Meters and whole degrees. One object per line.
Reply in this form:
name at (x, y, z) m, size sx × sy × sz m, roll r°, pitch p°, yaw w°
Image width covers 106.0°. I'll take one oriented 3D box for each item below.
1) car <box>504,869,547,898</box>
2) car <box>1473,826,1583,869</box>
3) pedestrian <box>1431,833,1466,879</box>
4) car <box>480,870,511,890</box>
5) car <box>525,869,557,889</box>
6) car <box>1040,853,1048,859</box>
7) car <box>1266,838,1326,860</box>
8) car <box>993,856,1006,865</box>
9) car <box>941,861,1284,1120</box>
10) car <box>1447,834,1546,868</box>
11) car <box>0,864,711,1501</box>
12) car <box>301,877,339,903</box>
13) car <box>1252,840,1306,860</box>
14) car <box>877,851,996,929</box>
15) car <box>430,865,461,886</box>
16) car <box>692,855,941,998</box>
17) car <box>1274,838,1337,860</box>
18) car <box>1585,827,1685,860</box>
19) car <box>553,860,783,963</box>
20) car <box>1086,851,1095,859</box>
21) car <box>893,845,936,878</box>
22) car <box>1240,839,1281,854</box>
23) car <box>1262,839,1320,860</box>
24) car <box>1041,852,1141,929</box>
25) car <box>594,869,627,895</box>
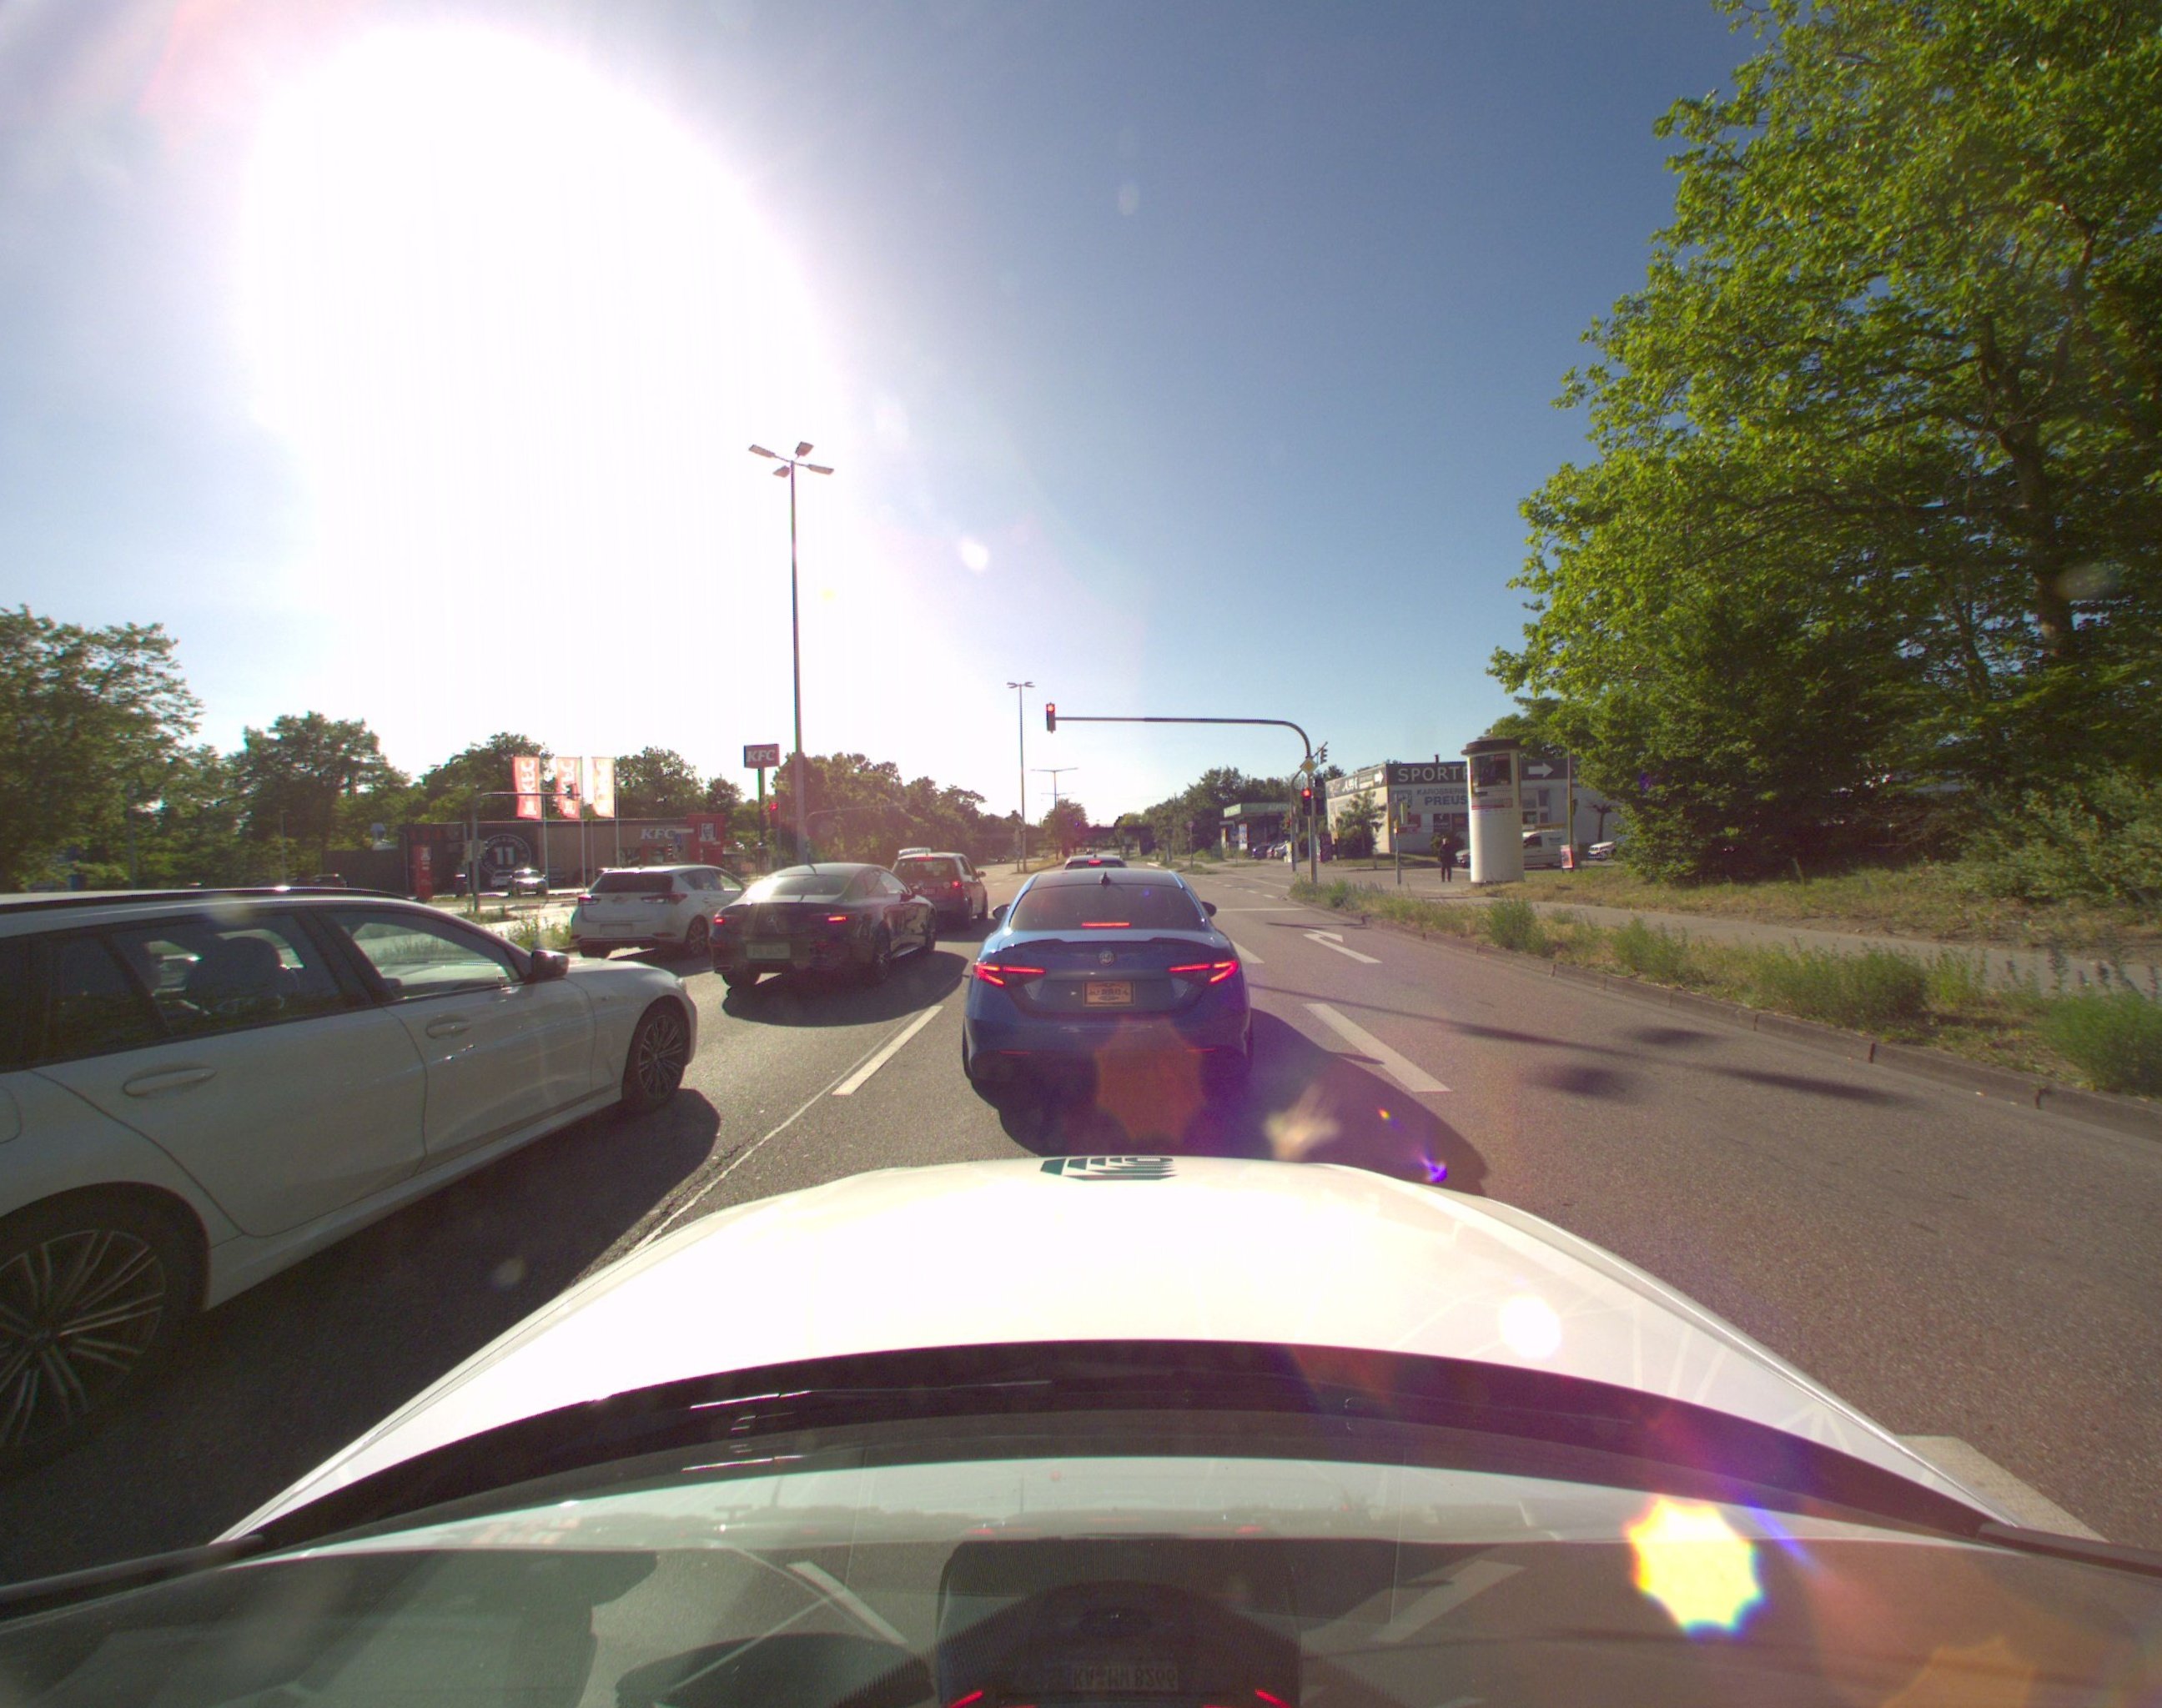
car at (-37.339, 1.944, 54.863) m, size 2.005 × 1.765 × 4.315 m, roll 0°, pitch -1°, yaw -29°
car at (21.531, -0.344, 39.352) m, size 4.367 × 1.801 × 1.765 m, roll -3°, pitch 3°, yaw 0°
pedestrian at (14.259, 0.079, 31.603) m, size 0.922 × 1.735 × 0.939 m, roll 0°, pitch -1°, yaw 1°
car at (-45.641, 2.030, 63.408) m, size 1.670 × 1.471 × 3.872 m, roll 0°, pitch -1°, yaw -40°
car at (-43.149, 1.962, 65.061) m, size 1.670 × 1.471 × 3.872 m, roll 0°, pitch -1°, yaw -40°
car at (-9.635, 0.556, 212.375) m, size 1.752 × 1.490 × 4.480 m, roll -3°, pitch 0°, yaw 2°
car at (17.706, -0.402, 67.107) m, size 4.470 × 1.454 × 1.860 m, roll -4°, pitch 0°, yaw 3°
car at (-14.985, 1.126, 149.651) m, size 1.752 × 1.490 × 4.480 m, roll -3°, pitch 0°, yaw 2°
car at (0.206, 0.775, 6.718) m, size 1.889 × 1.418 × 4.403 m, roll 0°, pitch 0°, yaw 1°
car at (21.764, -0.191, 42.717) m, size 4.273 × 1.549 × 1.765 m, roll -3°, pitch 1°, yaw 0°
car at (-3.428, 0.802, 3.308) m, size 1.779 × 1.490 × 4.403 m, roll 0°, pitch -1°, yaw 1°
car at (-52.374, 2.469, 56.096) m, size 1.670 × 1.673 × 3.897 m, roll 0°, pitch -1°, yaw -40°
car at (17.941, -0.345, 73.910) m, size 4.470 × 1.454 × 1.860 m, roll -4°, pitch 0°, yaw 3°
car at (-3.026, 0.718, 17.916) m, size 1.753 × 1.490 × 4.403 m, roll 0°, pitch -1°, yaw 1°
car at (-47.641, 1.569, 60.991) m, size 1.670 × 1.471 × 3.872 m, roll 0°, pitch -1°, yaw -40°
car at (-3.171, 0.782, 10.813) m, size 1.790 × 1.490 × 4.476 m, roll 0°, pitch -1°, yaw 1°
car at (17.700, -0.416, 64.326) m, size 4.470 × 1.454 × 1.860 m, roll -4°, pitch 0°, yaw 3°
car at (29.086, -0.535, 42.833) m, size 4.028 × 1.490 × 1.782 m, roll -3°, pitch 0°, yaw -1°
car at (-6.778, 0.856, 13.954) m, size 1.753 × 1.490 × 4.197 m, roll 0°, pitch -1°, yaw 1°
car at (2.156, 0.161, 187.553) m, size 1.884 × 1.816 × 4.001 m, roll 0°, pitch -1°, yaw 2°
car at (-13.646, 0.628, 67.013) m, size 2.015 × 2.447 × 5.823 m, roll -5°, pitch 0°, yaw 1°
car at (21.384, -0.870, 97.019) m, size 4.532 × 1.490 × 1.766 m, roll -4°, pitch 0°, yaw 3°
car at (17.982, -0.373, 69.856) m, size 4.470 × 1.454 × 1.860 m, roll -4°, pitch 0°, yaw 3°
car at (0.216, 0.697, 17.361) m, size 1.844 × 1.418 × 4.403 m, roll 0°, pitch 0°, yaw 1°
car at (-33.670, 1.938, 58.342) m, size 1.920 × 1.752 × 4.315 m, roll 0°, pitch -1°, yaw -29°
